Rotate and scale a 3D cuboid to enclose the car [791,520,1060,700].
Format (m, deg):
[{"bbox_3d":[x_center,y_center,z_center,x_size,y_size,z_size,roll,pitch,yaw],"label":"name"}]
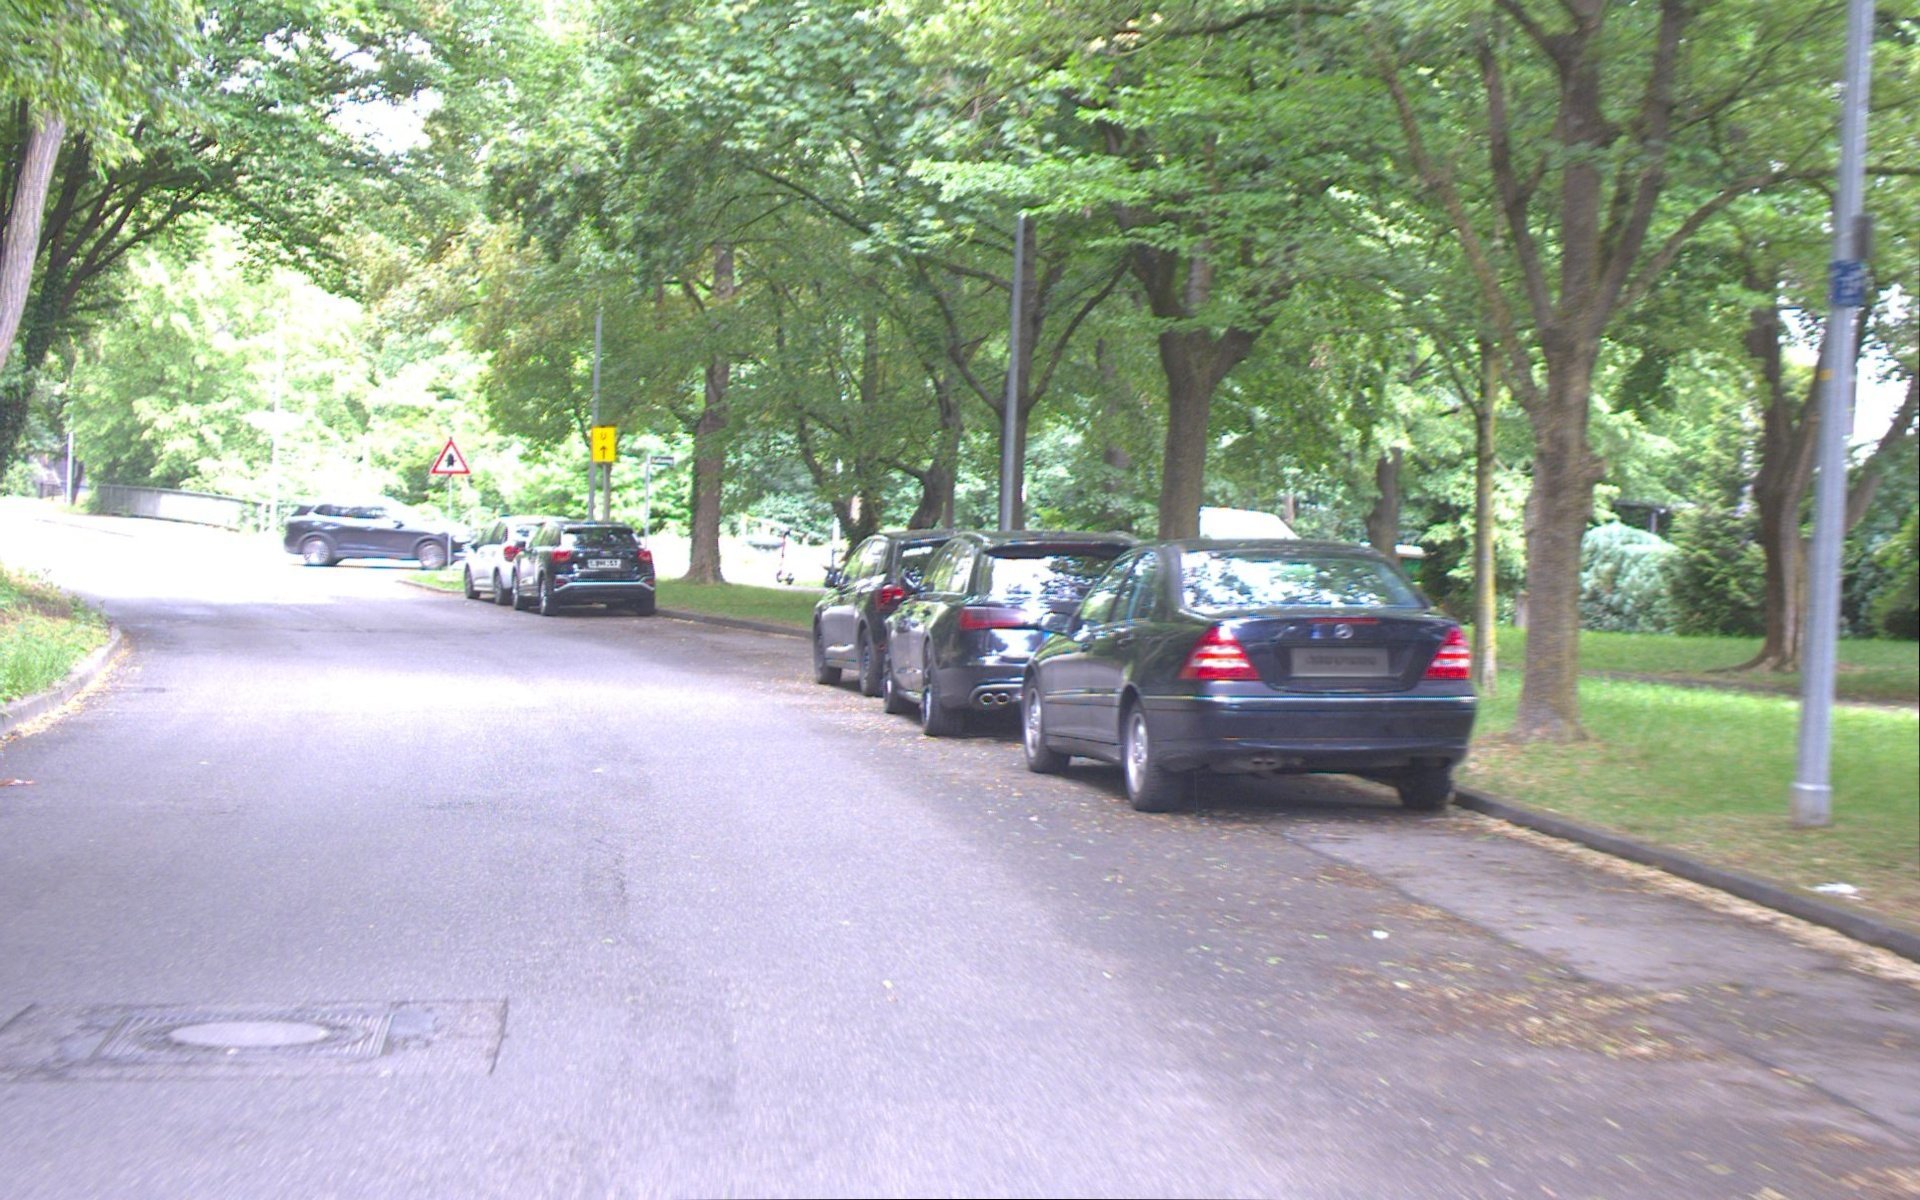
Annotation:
[{"bbox_3d":[-0.381,0.048,30.962,1.681,1.459,3.899,1,1,-11],"label":"car"}]

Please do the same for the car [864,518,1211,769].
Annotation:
[{"bbox_3d":[0.455,0.239,25.244,1.913,1.606,4.735,1,1,-6],"label":"car"}]

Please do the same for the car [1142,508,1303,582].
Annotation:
[{"bbox_3d":[7.583,-1.591,99.596,4.204,2.007,2.001,1,1,-12],"label":"car"}]

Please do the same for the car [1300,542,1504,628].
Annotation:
[{"bbox_3d":[10.457,-0.369,81.447,4.395,1.842,1.833,2,2,-9],"label":"car"}]

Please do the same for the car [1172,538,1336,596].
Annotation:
[{"bbox_3d":[8.248,-0.933,96.676,4.204,1.493,1.801,1,1,-12],"label":"car"}]

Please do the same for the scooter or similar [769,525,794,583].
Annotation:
[{"bbox_3d":[-4.055,-1.053,77.945,0.282,1.282,1.108,2,1,-16],"label":"scooter or similar"}]

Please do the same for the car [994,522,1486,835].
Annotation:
[{"bbox_3d":[1.402,0.344,18.971,1.588,1.460,4.318,1,2,-11],"label":"car"}]

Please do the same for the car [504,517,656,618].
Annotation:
[{"bbox_3d":[-6.196,-0.553,55.695,1.773,1.517,4.185,1,1,-16],"label":"car"}]

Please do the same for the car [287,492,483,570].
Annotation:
[{"bbox_3d":[-13.375,-1.611,80.103,4.222,1.680,1.799,2,1,1],"label":"car"}]

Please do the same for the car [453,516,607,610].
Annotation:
[{"bbox_3d":[-7.529,-0.669,59.908,1.773,1.517,3.782,1,1,-21],"label":"car"}]
